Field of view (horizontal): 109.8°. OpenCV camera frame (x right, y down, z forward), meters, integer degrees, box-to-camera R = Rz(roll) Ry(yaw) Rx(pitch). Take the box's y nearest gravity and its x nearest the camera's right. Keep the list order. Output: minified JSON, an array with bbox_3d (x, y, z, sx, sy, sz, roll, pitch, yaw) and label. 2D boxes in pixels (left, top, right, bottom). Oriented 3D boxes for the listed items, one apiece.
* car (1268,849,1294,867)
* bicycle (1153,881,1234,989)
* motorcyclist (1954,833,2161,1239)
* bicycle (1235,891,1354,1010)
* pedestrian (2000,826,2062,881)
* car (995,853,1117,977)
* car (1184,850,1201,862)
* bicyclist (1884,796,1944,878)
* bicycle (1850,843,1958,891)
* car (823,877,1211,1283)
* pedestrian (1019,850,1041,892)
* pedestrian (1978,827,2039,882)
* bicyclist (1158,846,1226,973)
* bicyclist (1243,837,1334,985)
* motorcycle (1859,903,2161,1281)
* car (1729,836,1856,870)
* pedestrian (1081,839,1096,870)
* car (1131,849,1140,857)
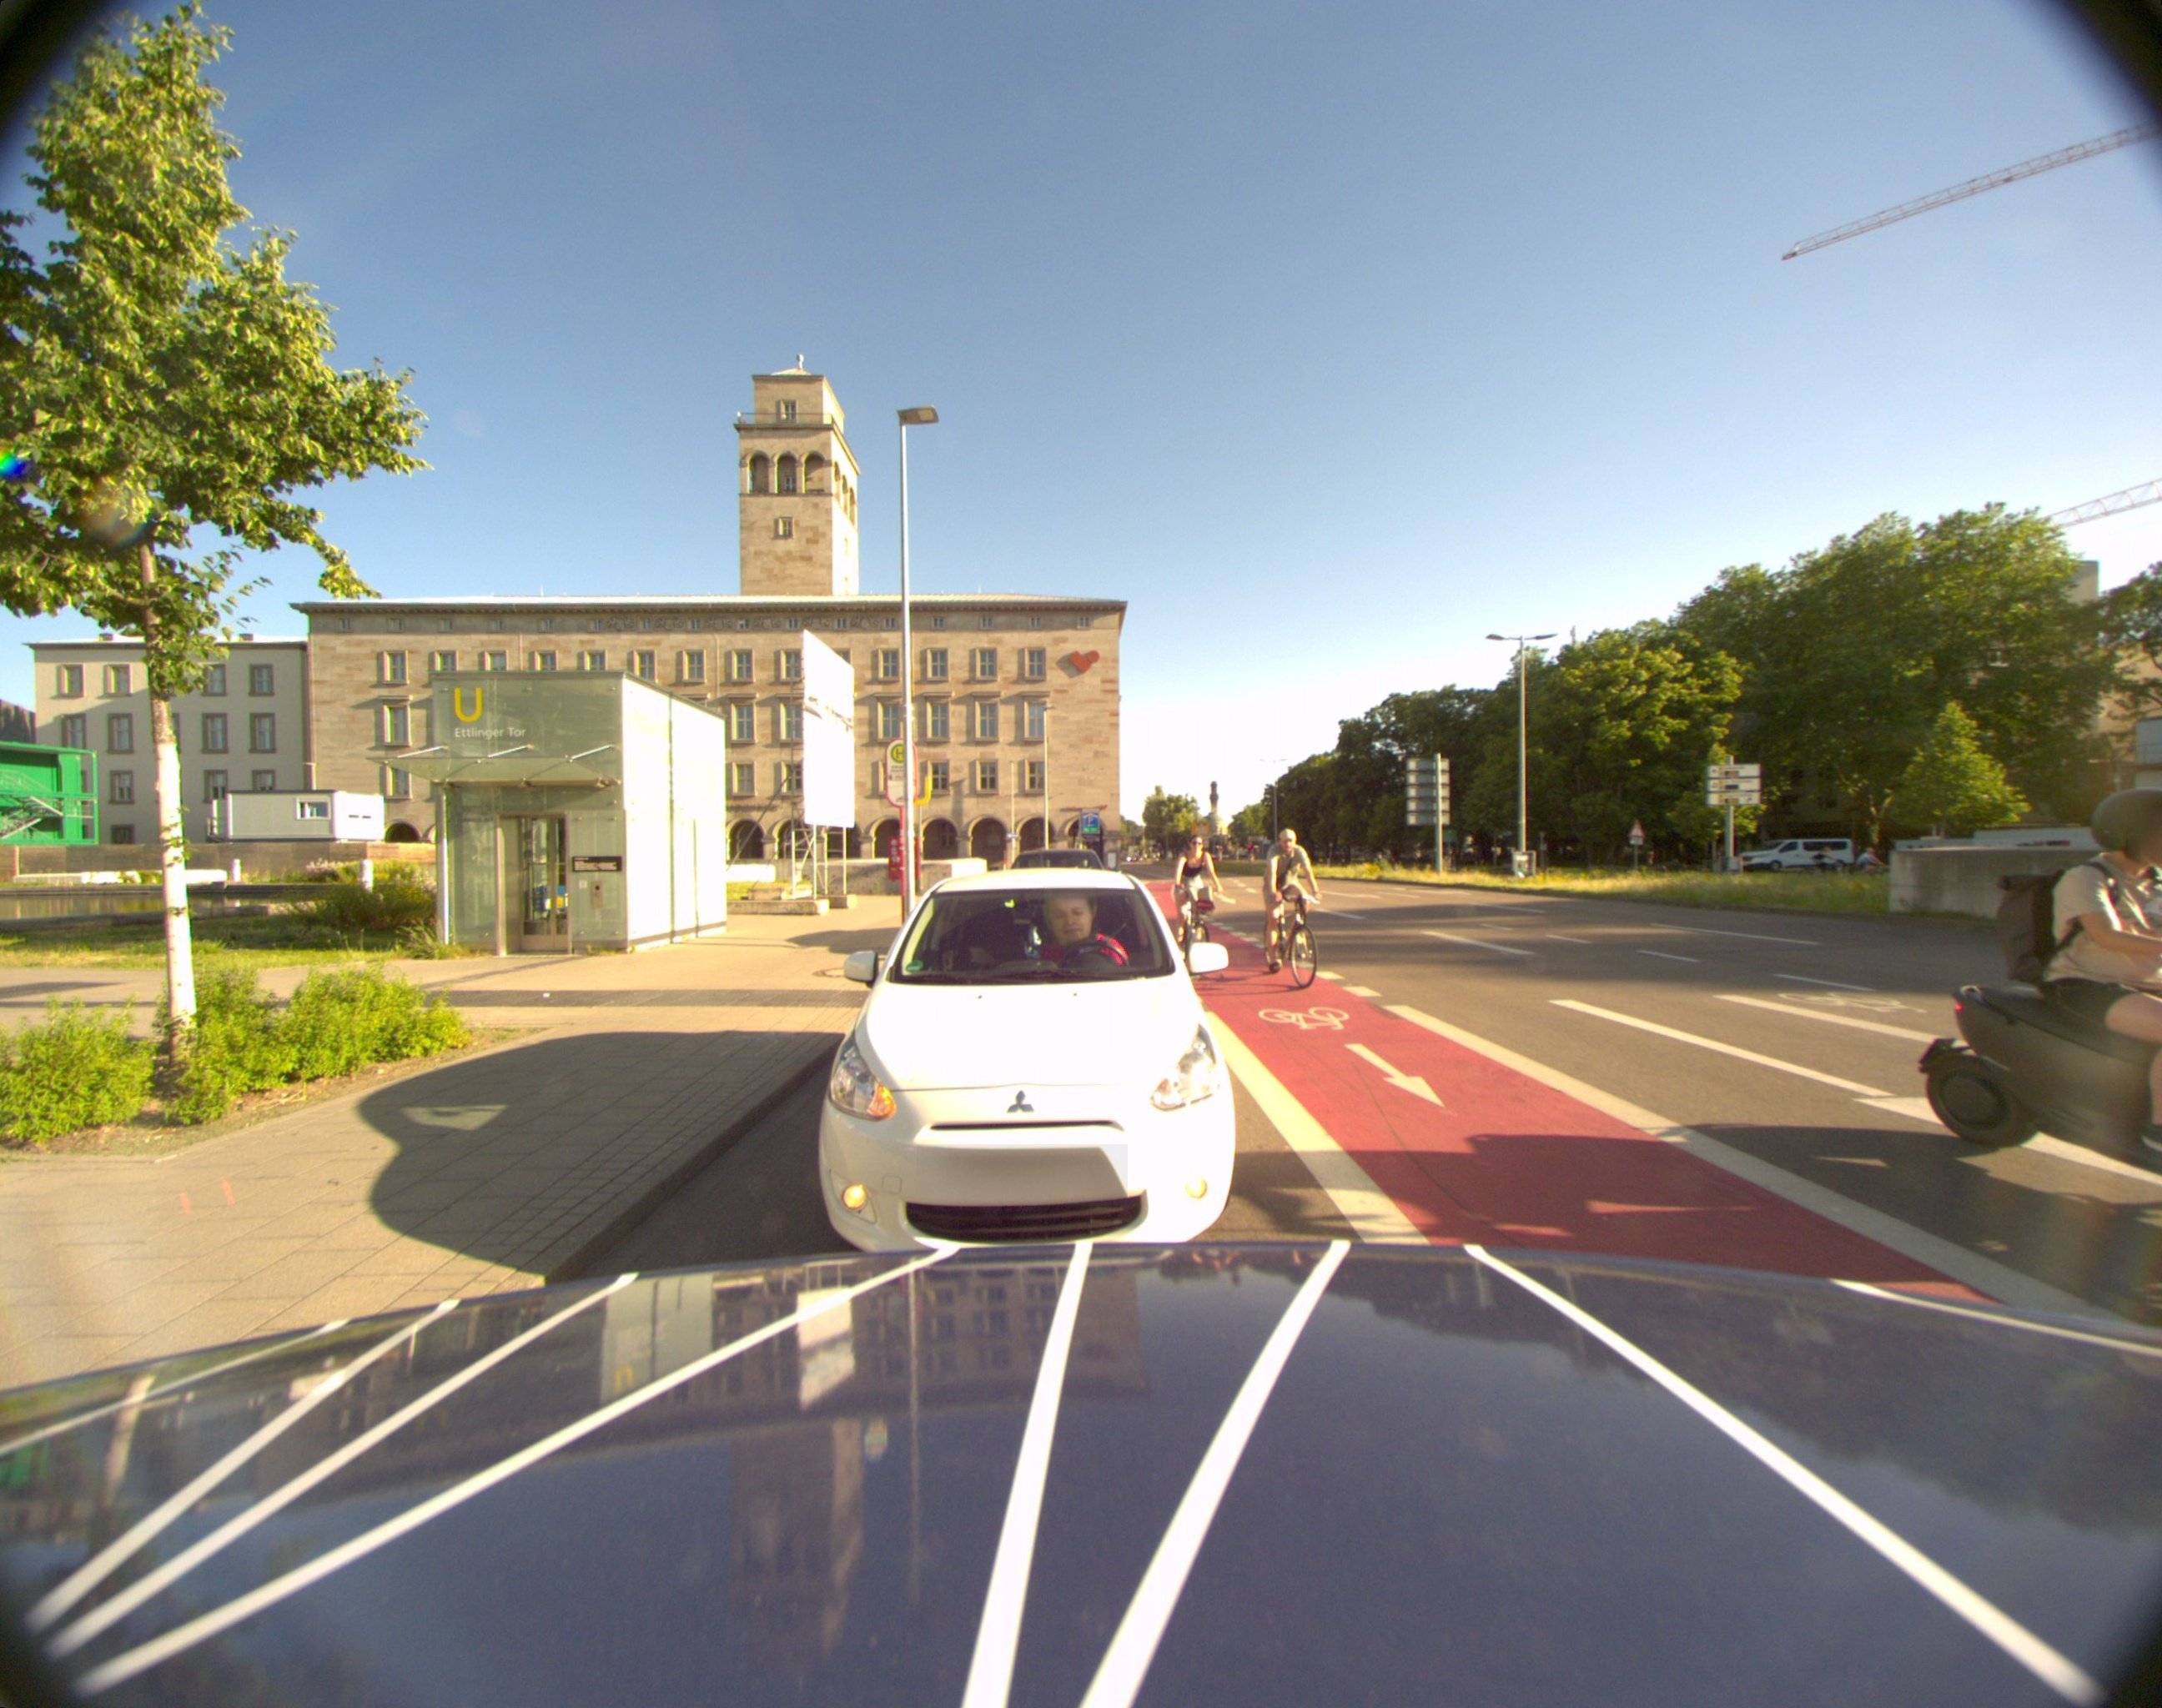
[{"bbox_3d":[21.581,0.446,82.100,1.819,1.817,3.999,-2,1,1],"label":"car"},{"bbox_3d":[1.443,1.007,10.061,0.617,1.211,1.831,-2,0,-4],"label":"bicycle"},{"bbox_3d":[4.278,0.658,2.933,0.727,1.466,0.917,-2,0,1],"label":"motorcyclist"},{"bbox_3d":[2.399,1.038,8.800,0.649,1.103,1.970,-2,0,-4],"label":"bicycle"},{"bbox_3d":[36.052,-0.036,28.847,0.940,2.002,1.137,-2,1,-5],"label":"pedestrian"},{"bbox_3d":[-0.371,0.843,12.513,1.642,1.653,3.849,-2,0,-1],"label":"car"},{"bbox_3d":[16.361,0.301,111.867,1.849,1.677,3.999,-2,1,1],"label":"car"},{"bbox_3d":[32.432,-0.667,29.601,0.841,3.085,1.306,-2,1,-1],"label":"bicyclist"},{"bbox_3d":[32.469,0.512,30.062,0.841,1.800,3.082,-2,-1,-1],"label":"bicycle"},{"bbox_3d":[-0.231,0.957,4.834,1.496,1.477,3.604,-2,0,1],"label":"car"},{"bbox_3d":[-3.105,1.018,46.194,1.122,2.524,1.055,-2,1,1],"label":"pedestrian"},{"bbox_3d":[35.059,0.010,28.736,0.940,2.002,1.137,-2,1,-5],"label":"pedestrian"},{"bbox_3d":[1.438,0.692,9.968,0.643,1.570,0.875,-2,1,-5],"label":"bicyclist"},{"bbox_3d":[2.379,0.629,8.789,0.718,1.596,0.841,-2,1,-5],"label":"bicyclist"},{"bbox_3d":[4.286,0.902,2.880,0.724,1.286,1.884,-2,0,1],"label":"motorcycle"},{"bbox_3d":[42.135,-0.049,45.106,5.516,1.924,2.065,-1,1,2],"label":"car"},{"bbox_3d":[0.597,0.074,63.272,1.122,2.524,1.055,-2,1,1],"label":"pedestrian"},{"bbox_3d":[12.571,-0.162,175.625,1.849,1.677,4.000,-2,1,2],"label":"car"}]
